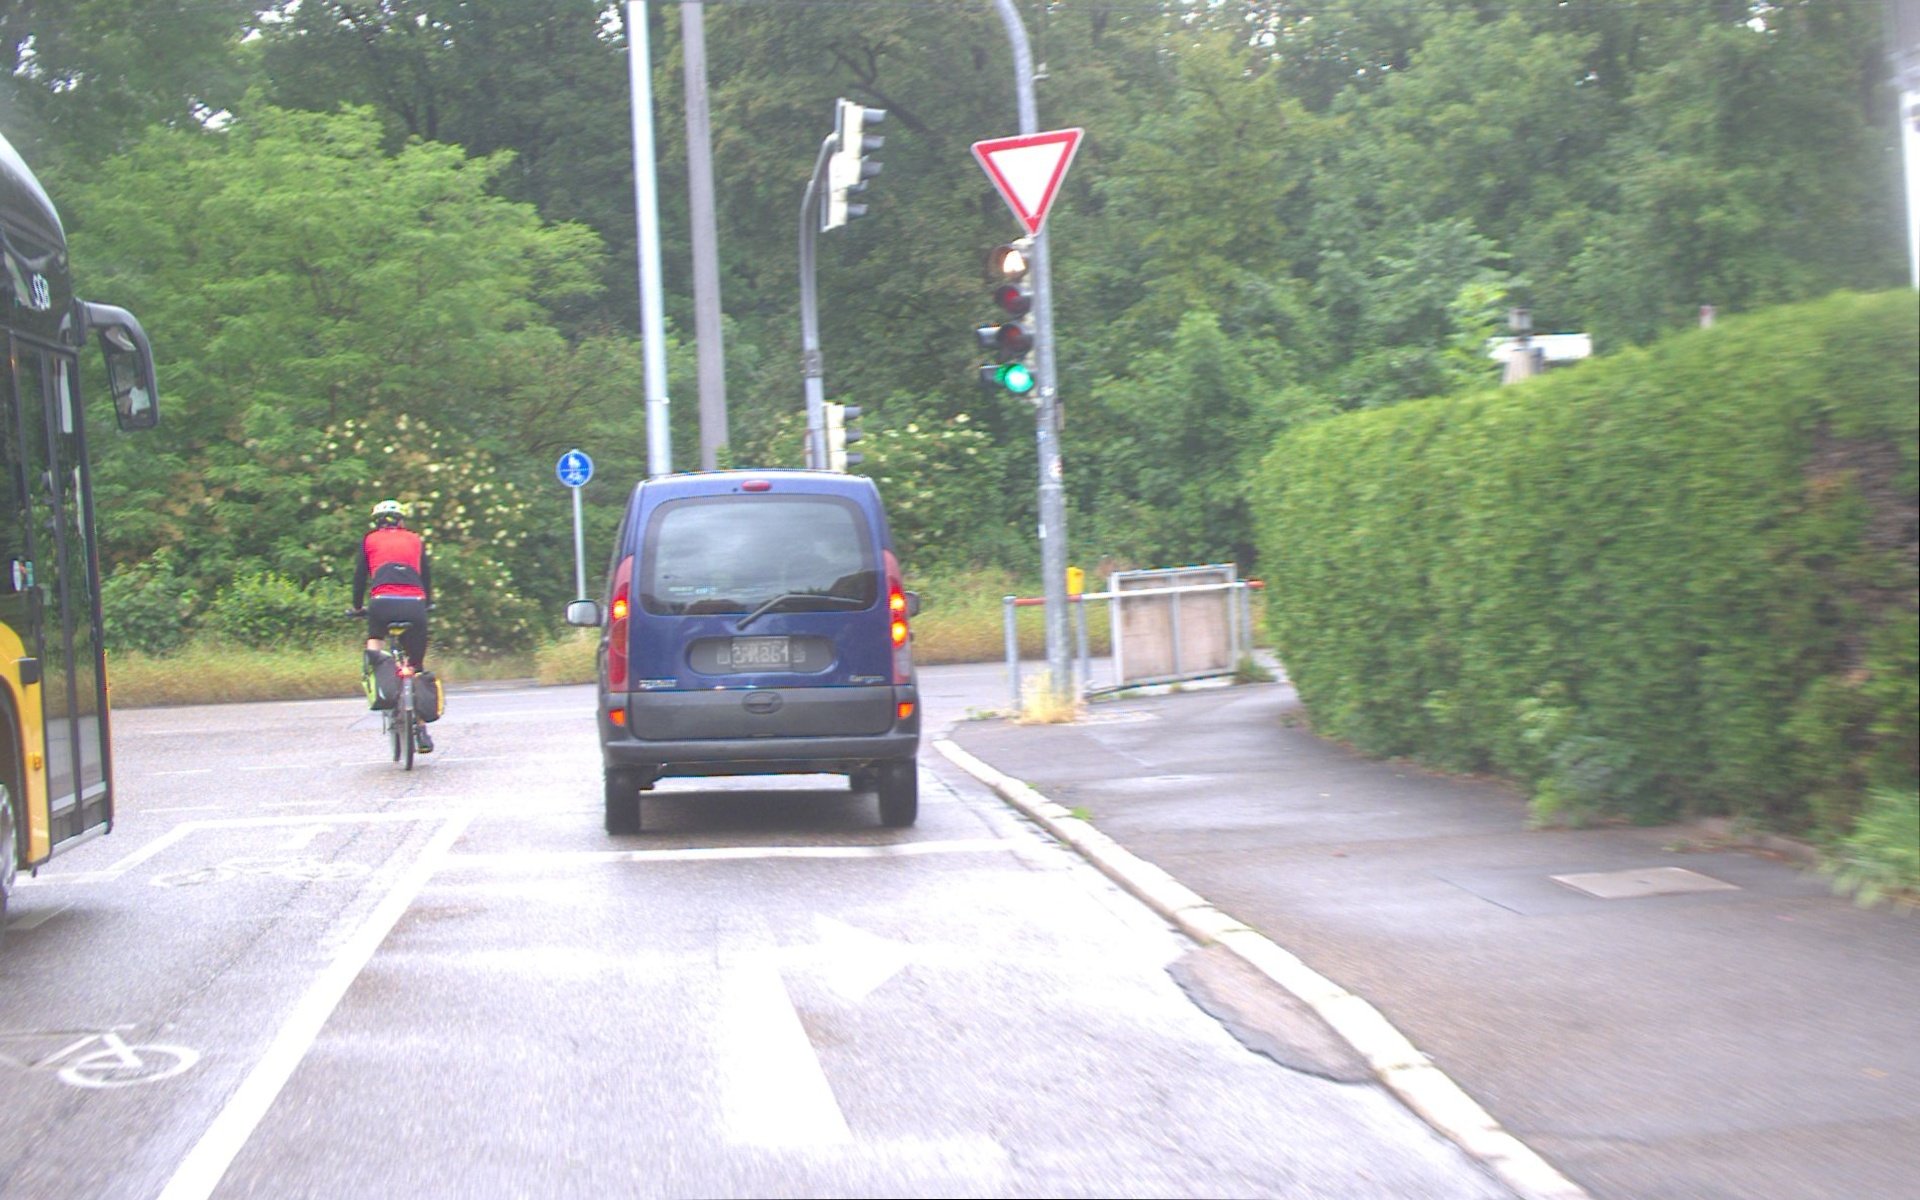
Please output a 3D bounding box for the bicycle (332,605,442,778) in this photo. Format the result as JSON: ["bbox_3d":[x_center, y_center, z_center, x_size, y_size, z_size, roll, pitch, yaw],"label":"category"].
[{"bbox_3d":[-3.967,0.601,23.686,0.578,1.093,2.155,-1,1,-13],"label":"bicycle"}]

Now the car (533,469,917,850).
[{"bbox_3d":[-1.263,0.287,18.744,1.808,1.791,4.000,-2,0,-3],"label":"car"}]

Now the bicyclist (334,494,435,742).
[{"bbox_3d":[-3.947,0.110,23.546,0.578,1.647,1.049,-1,1,-14],"label":"bicyclist"}]

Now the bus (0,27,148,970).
[{"bbox_3d":[-4.758,-0.318,10.459,2.899,3.386,9.042,-2,1,-4],"label":"bus"}]
